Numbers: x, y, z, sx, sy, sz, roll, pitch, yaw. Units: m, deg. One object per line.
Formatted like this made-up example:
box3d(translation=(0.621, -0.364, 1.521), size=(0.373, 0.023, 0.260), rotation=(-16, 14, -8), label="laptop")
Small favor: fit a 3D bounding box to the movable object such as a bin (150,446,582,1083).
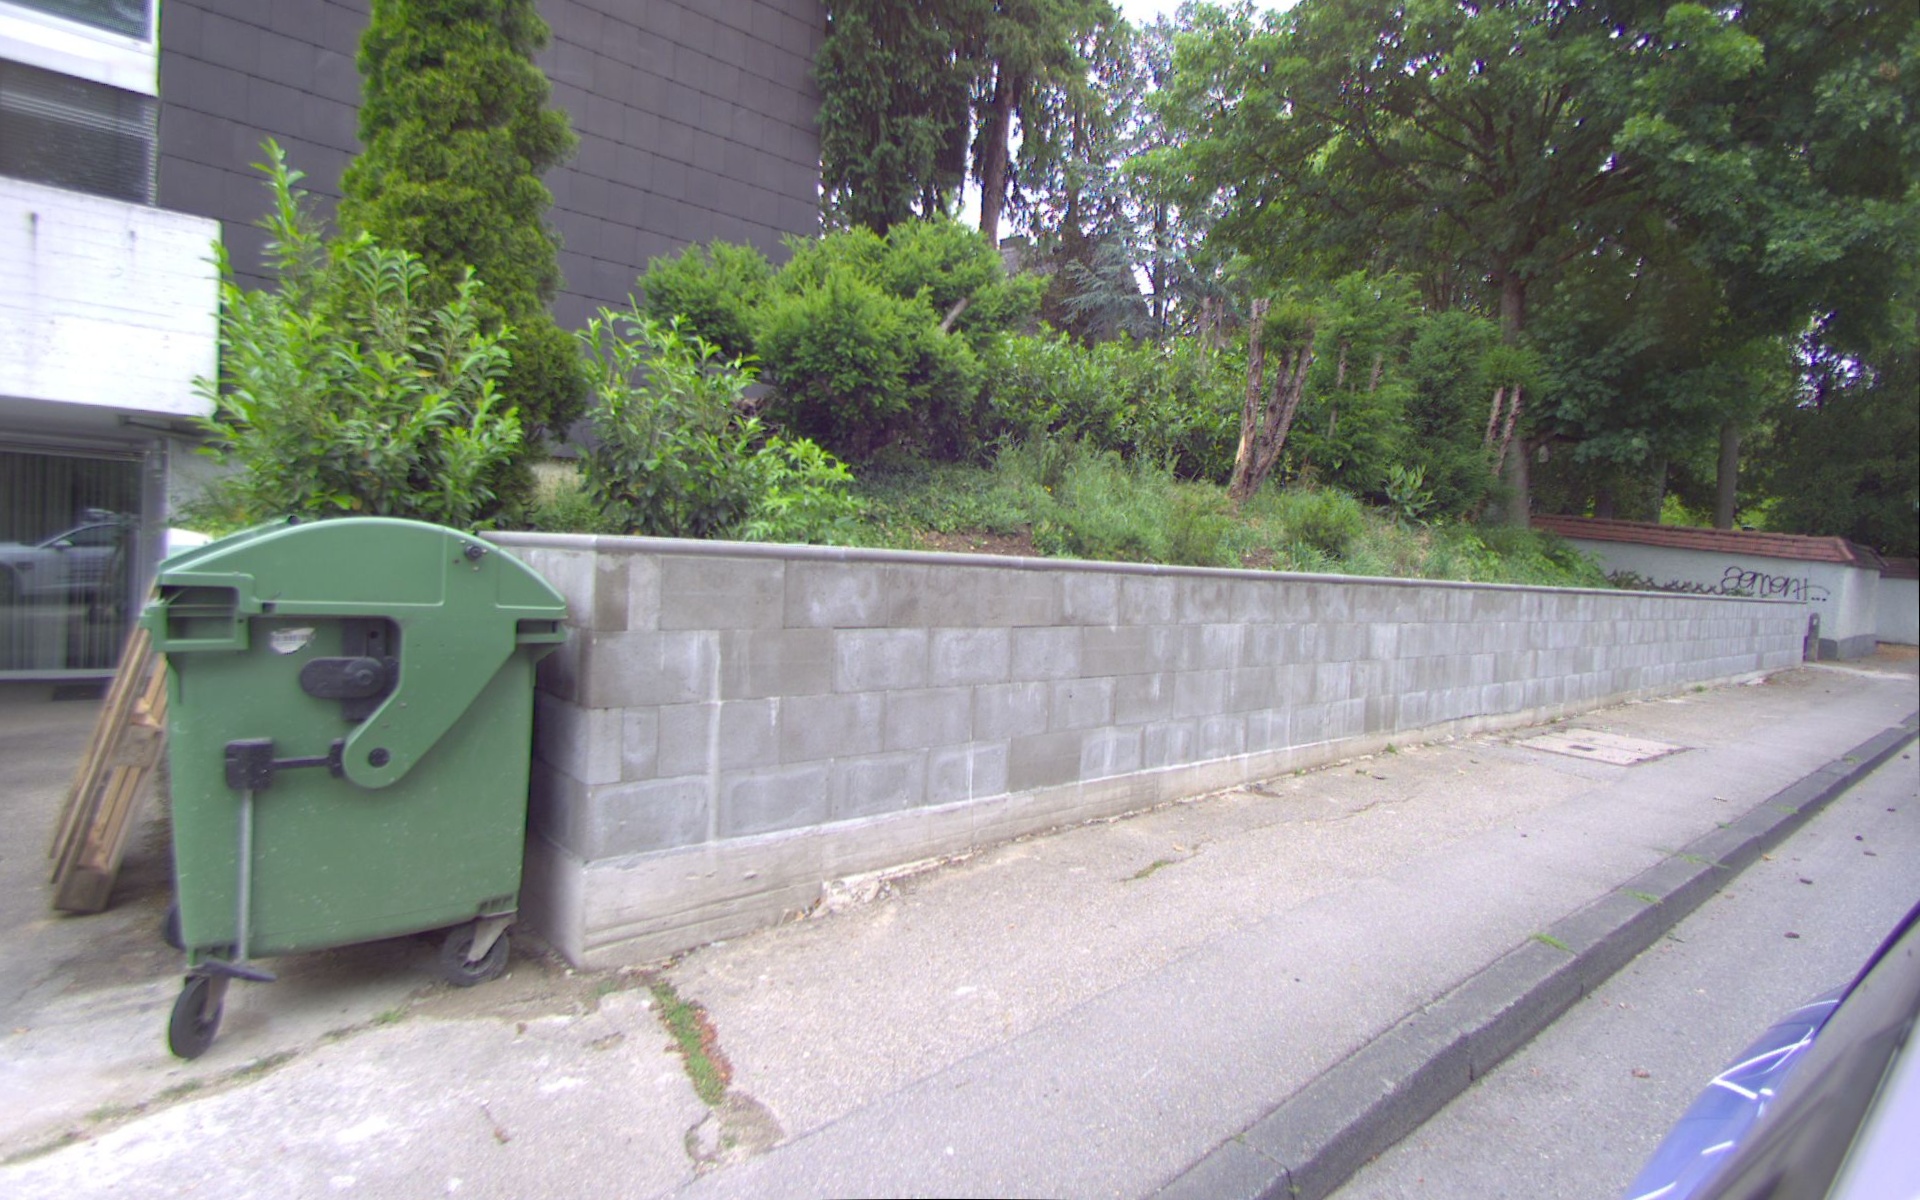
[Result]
box3d(translation=(-1.882, 0.378, 3.177), size=(1.014, 1.549, 1.037), rotation=(0, 2, -39), label="movable object such as a bin")
